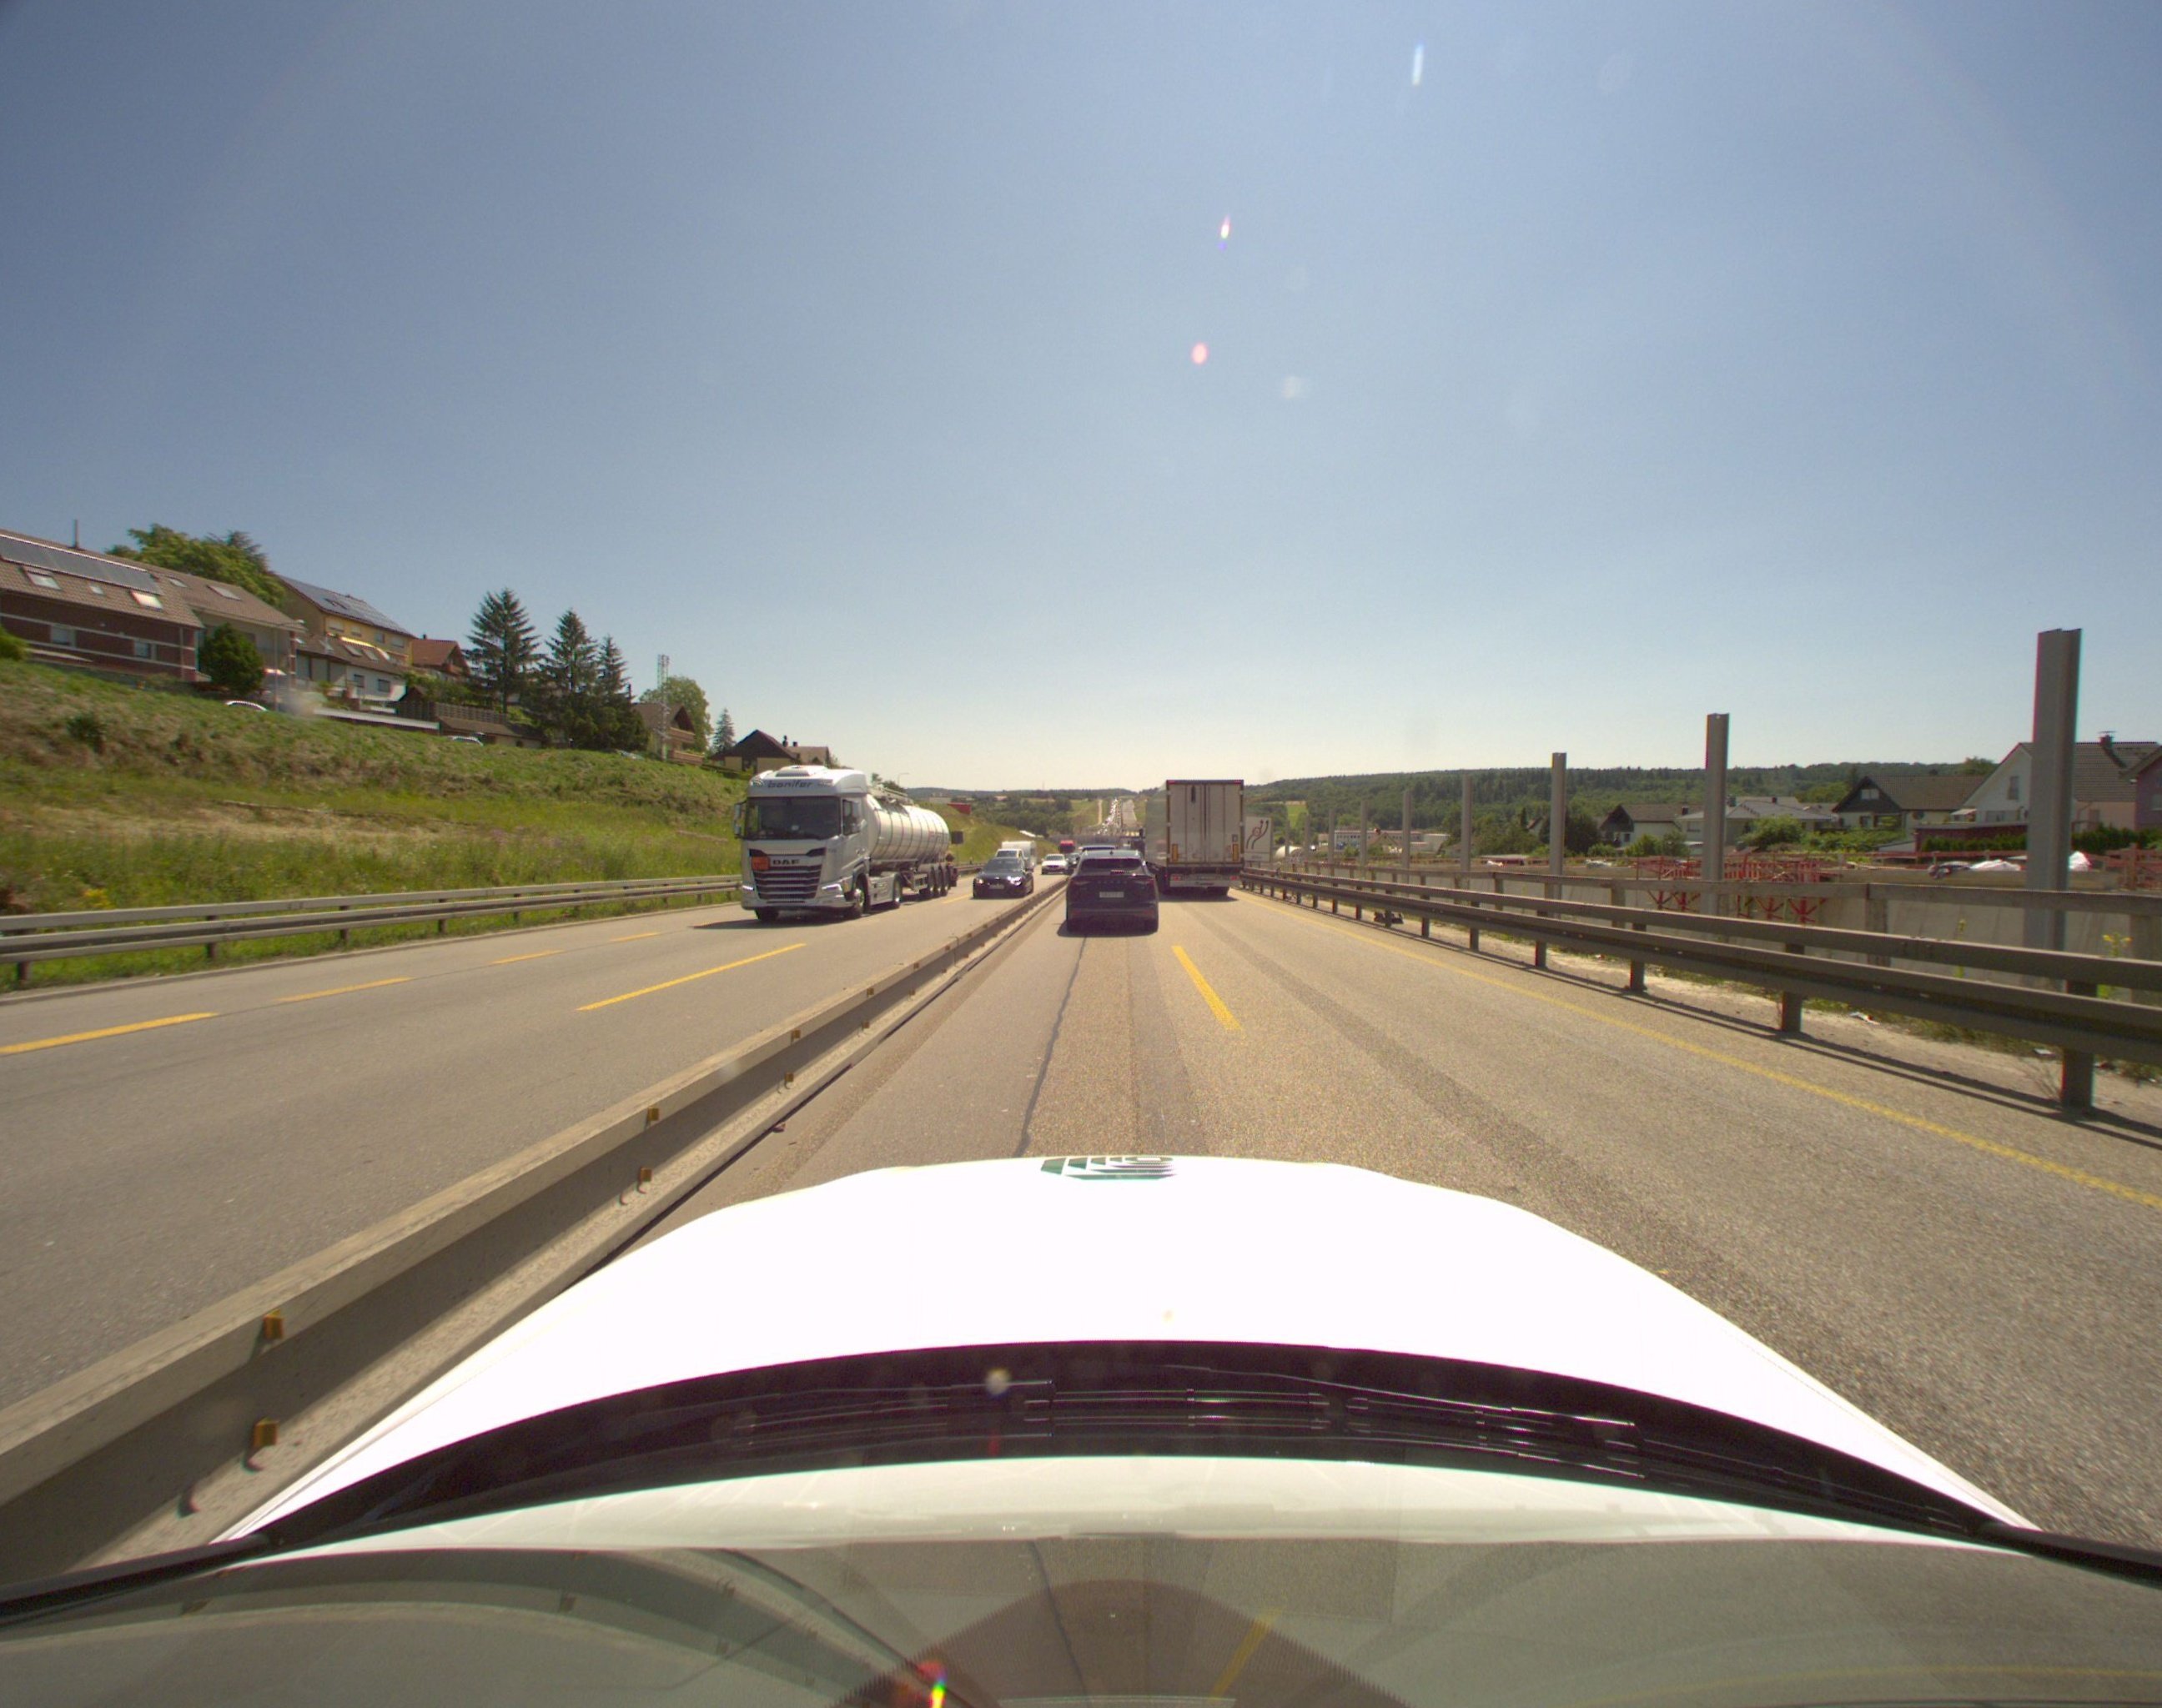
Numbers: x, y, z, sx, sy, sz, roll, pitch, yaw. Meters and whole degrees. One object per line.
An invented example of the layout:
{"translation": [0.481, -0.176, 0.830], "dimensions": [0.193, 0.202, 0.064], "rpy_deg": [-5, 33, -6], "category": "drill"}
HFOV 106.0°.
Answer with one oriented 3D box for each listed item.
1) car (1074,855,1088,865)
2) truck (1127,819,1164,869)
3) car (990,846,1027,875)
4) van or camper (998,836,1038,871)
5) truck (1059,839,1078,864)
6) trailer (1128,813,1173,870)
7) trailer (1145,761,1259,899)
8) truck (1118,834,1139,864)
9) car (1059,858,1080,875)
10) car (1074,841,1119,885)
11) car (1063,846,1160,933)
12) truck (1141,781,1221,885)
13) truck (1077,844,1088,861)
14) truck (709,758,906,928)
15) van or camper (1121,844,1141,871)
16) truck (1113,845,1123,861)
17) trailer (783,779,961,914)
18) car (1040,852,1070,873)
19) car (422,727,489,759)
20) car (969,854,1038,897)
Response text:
{"translation": [0.003, 0.925, 126.893], "dimensions": [1.986, 1.530, 4.001], "rpy_deg": [-1, 0, 1], "category": "car"}
{"translation": [6.177, -0.865, 78.934], "dimensions": [3.168, 4.513, 8.168], "rpy_deg": [0, -1, 2], "category": "truck"}
{"translation": [-5.208, 0.460, 59.079], "dimensions": [1.986, 1.971, 5.346], "rpy_deg": [-1, 0, 2], "category": "car"}
{"translation": [-5.005, -0.043, 65.687], "dimensions": [2.348, 2.676, 7.861], "rpy_deg": [-1, 0, 2], "category": "van or camper"}
{"translation": [-2.097, -0.389, 144.996], "dimensions": [2.842, 4.140, 11.920], "rpy_deg": [0, -1, 1], "category": "truck"}
{"translation": [5.964, -0.819, 71.973], "dimensions": [3.168, 4.513, 14.972], "rpy_deg": [0, -1, 2], "category": "trailer"}
{"translation": [4.499, -0.832, 33.373], "dimensions": [3.168, 4.513, 13.114], "rpy_deg": [0, 0, 2], "category": "trailer"}
{"translation": [7.425, -0.672, 128.074], "dimensions": [2.842, 4.465, 11.920], "rpy_deg": [0, -1, 1], "category": "truck"}
{"translation": [-0.984, 1.064, 71.370], "dimensions": [1.660, 1.413, 3.818], "rpy_deg": [0, 0, 1], "category": "car"}
{"translation": [0.768, 0.421, 38.177], "dimensions": [1.986, 1.926, 4.509], "rpy_deg": [0, -1, 2], "category": "car"}
{"translation": [0.660, 0.674, 17.152], "dimensions": [1.795, 1.607, 4.002], "rpy_deg": [0, -1, 3], "category": "car"}
{"translation": [4.709, -0.944, 39.849], "dimensions": [3.168, 4.513, 8.169], "rpy_deg": [0, 0, 2], "category": "truck"}
{"translation": [0.485, -0.236, 219.869], "dimensions": [2.842, 4.338, 11.920], "rpy_deg": [0, -1, 1], "category": "truck"}
{"translation": [-6.620, -0.248, 20.854], "dimensions": [2.769, 3.672, 6.279], "rpy_deg": [0, 0, 1], "category": "truck"}
{"translation": [6.331, 0.531, 101.708], "dimensions": [2.378, 3.281, 6.475], "rpy_deg": [-1, -1, 4], "category": "van or camper"}
{"translation": [10.483, -0.218, 232.314], "dimensions": [2.629, 4.194, 9.287], "rpy_deg": [0, -1, 2], "category": "truck"}
{"translation": [-6.460, -0.216, 27.719], "dimensions": [2.706, 3.594, 11.798], "rpy_deg": [0, 0, 1], "category": "trailer"}
{"translation": [-1.822, 0.604, 59.383], "dimensions": [1.905, 1.480, 4.638], "rpy_deg": [-1, 0, 1], "category": "car"}
{"translation": [-50.578, -8.952, 65.964], "dimensions": [1.983, 2.014, 4.008], "rpy_deg": [0, -1, 7], "category": "car"}
{"translation": [-2.773, 0.736, 30.154], "dimensions": [1.887, 1.414, 4.682], "rpy_deg": [-1, 0, 2], "category": "car"}
